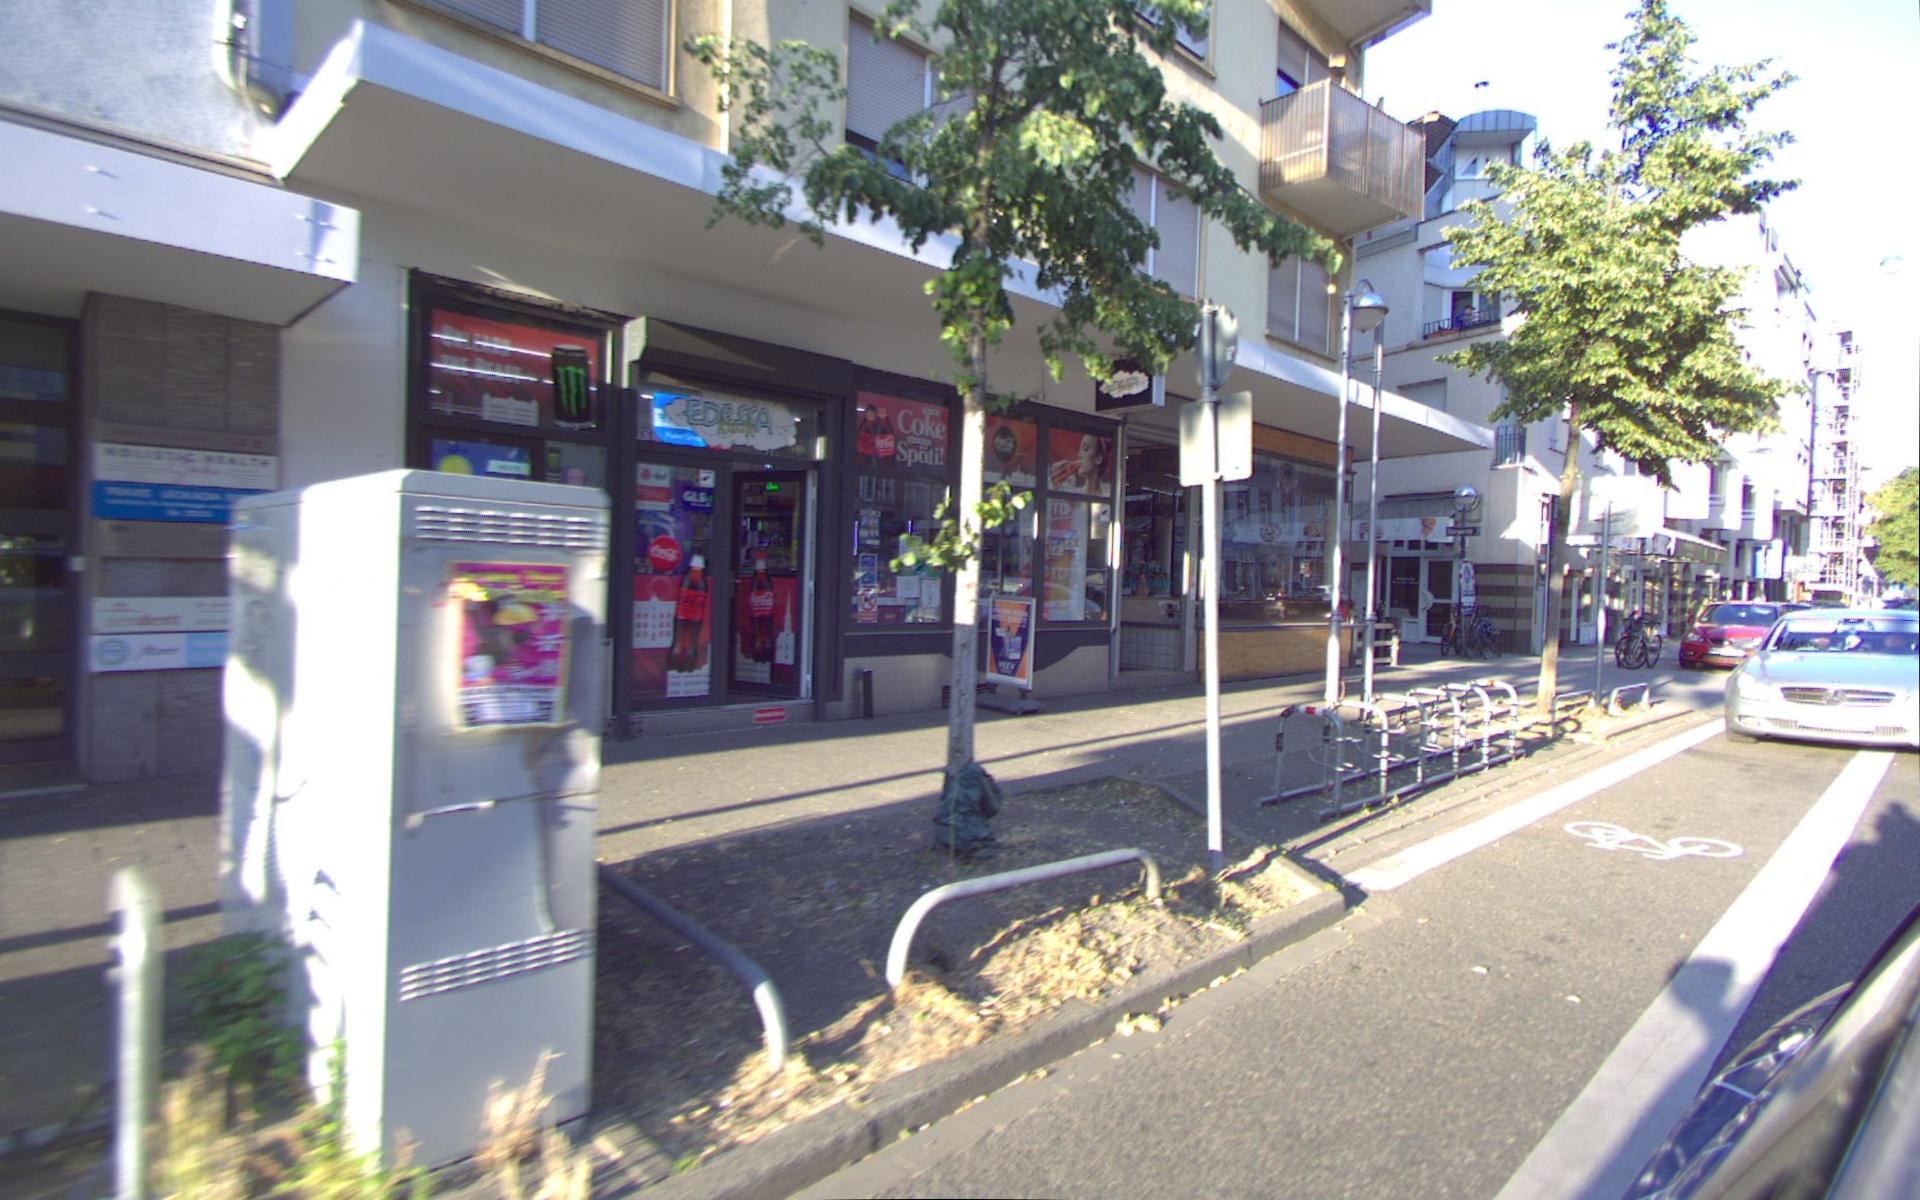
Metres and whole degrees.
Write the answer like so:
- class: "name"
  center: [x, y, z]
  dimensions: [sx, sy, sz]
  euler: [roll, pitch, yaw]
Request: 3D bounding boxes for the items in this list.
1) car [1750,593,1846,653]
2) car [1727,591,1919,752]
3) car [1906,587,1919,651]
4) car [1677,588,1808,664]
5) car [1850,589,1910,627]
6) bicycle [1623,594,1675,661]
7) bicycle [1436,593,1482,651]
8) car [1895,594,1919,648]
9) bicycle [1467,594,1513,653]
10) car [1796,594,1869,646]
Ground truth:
- class: "car"
  center: [21.559, 0.536, 26.003]
  dimensions: [1.610, 1.411, 3.636]
  euler: [0, 0, 44]
- class: "car"
  center: [9.701, 0.611, 10.759]
  dimensions: [4.497, 1.386, 1.787]
  euler: [-1, 1, -44]
- class: "car"
  center: [26.858, 0.502, 27.208]
  dimensions: [3.688, 1.662, 1.893]
  euler: [0, 2, -44]
- class: "car"
  center: [16.455, 0.500, 21.213]
  dimensions: [3.934, 1.446, 1.650]
  euler: [0, 0, -44]
- class: "car"
  center: [42.313, 0.341, 46.513]
  dimensions: [3.808, 1.591, 1.763]
  euler: [0, 2, -44]
- class: "bicycle"
  center: [13.911, 0.529, 20.411]
  dimensions: [1.684, 1.253, 0.504]
  euler: [-1, 3, -45]
- class: "bicycle"
  center: [10.598, 0.445, 21.467]
  dimensions: [0.330, 1.144, 1.982]
  euler: [2, 2, 42]
- class: "car"
  center: [30.137, 0.624, 31.330]
  dimensions: [1.687, 1.562, 3.672]
  euler: [0, 1, 44]
- class: "bicycle"
  center: [11.043, 0.469, 21.046]
  dimensions: [0.330, 1.143, 1.982]
  euler: [4, 3, 42]
- class: "car"
  center: [26.454, 0.573, 30.665]
  dimensions: [1.428, 1.469, 3.326]
  euler: [2, 1, 45]
